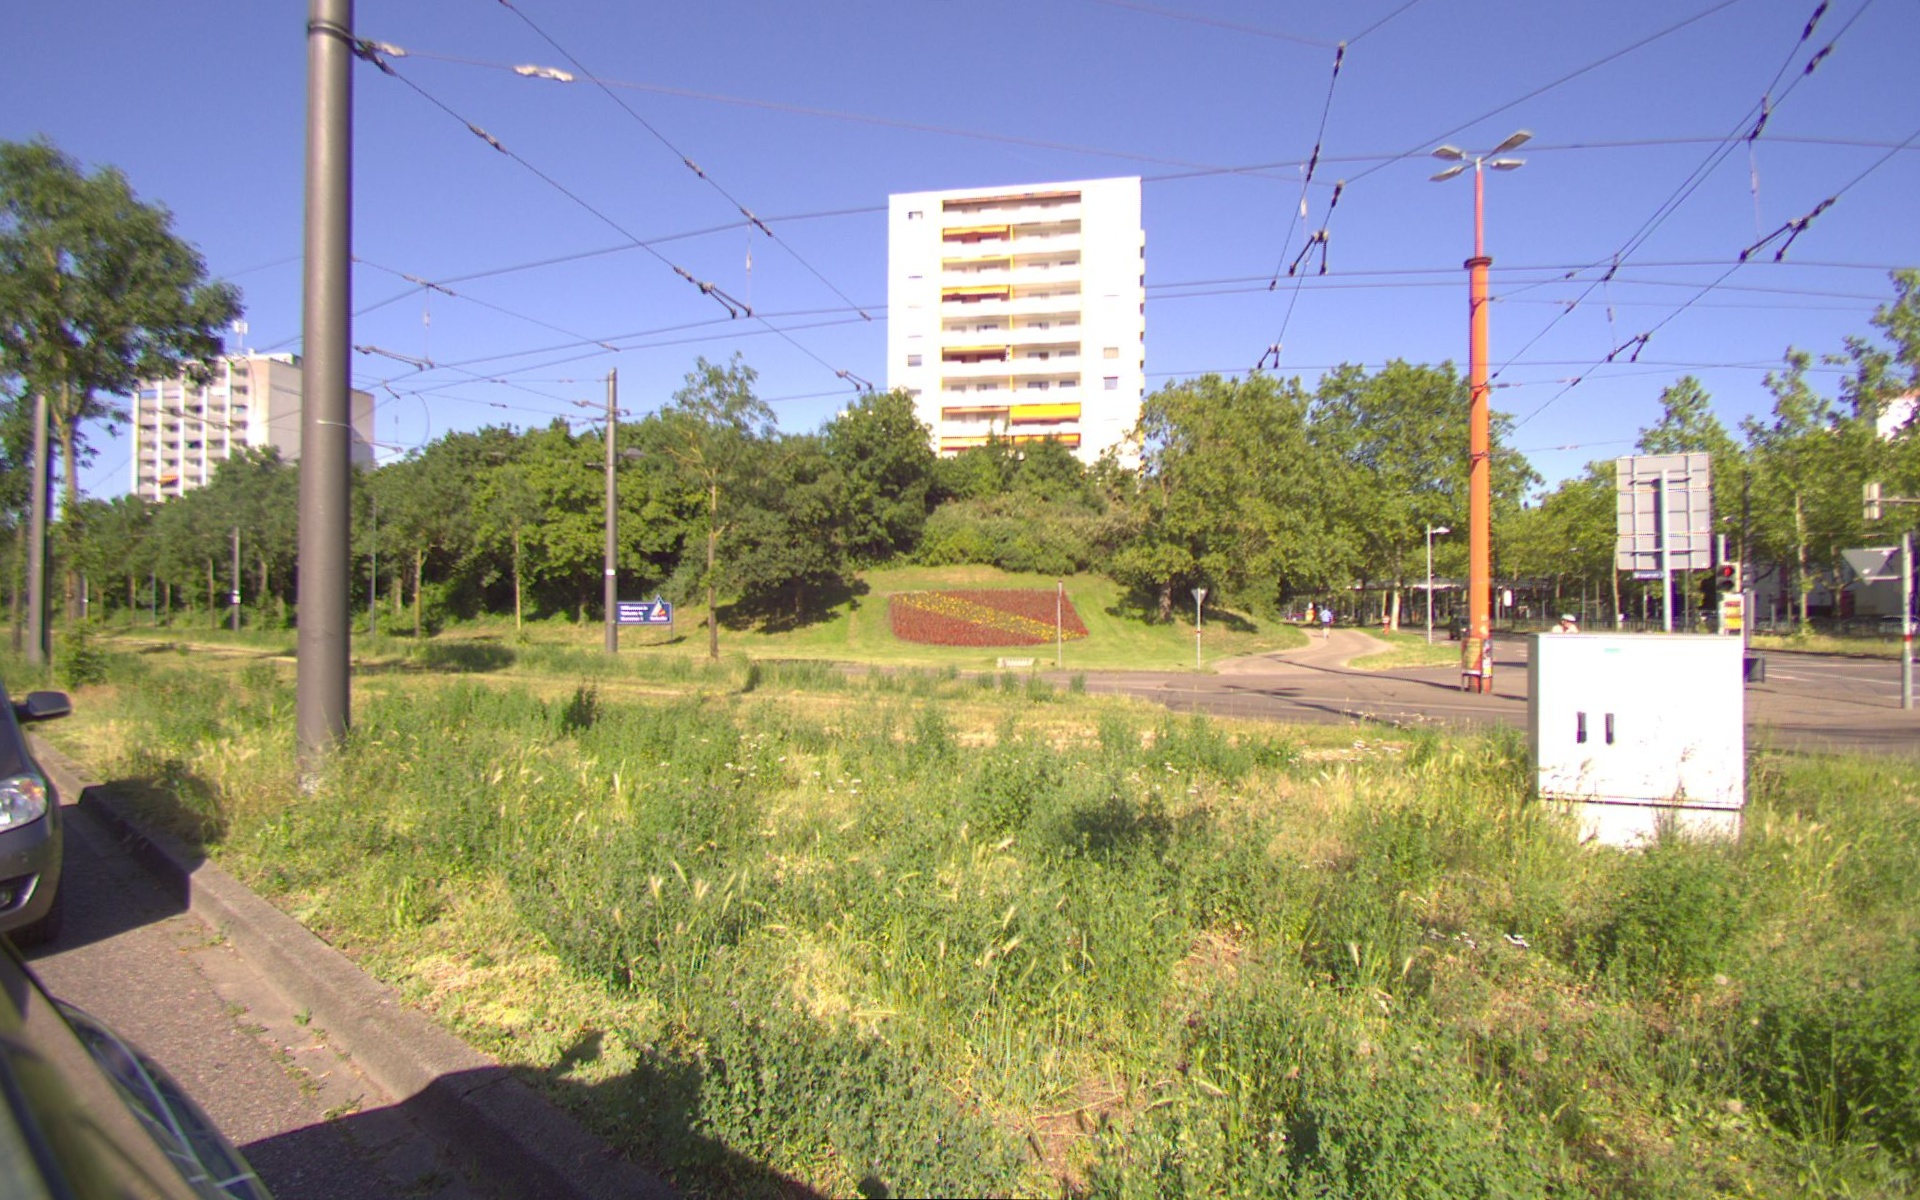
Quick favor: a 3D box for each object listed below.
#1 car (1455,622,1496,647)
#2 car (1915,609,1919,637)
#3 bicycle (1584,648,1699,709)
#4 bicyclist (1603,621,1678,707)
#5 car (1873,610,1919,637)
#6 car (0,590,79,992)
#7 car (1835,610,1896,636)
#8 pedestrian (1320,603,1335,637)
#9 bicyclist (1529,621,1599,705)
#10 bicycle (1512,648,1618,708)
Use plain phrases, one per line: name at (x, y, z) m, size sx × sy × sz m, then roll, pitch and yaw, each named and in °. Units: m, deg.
car at (35.075, 2.331, 68.933) m, size 1.928 × 1.606 × 3.882 m, roll -1°, pitch -1°, yaw 20°
car at (64.409, 1.501, 65.901) m, size 3.931 × 1.829 × 2.006 m, roll 0°, pitch -2°, yaw -27°
bicycle at (13.359, 1.517, 19.915) m, size 0.915 × 1.095 × 1.888 m, roll 0°, pitch -1°, yaw -2°
bicyclist at (13.355, 1.237, 19.882) m, size 0.920 × 1.650 × 0.741 m, roll 0°, pitch -1°, yaw -1°
car at (65.251, 1.638, 69.864) m, size 3.931 × 1.829 × 2.006 m, roll 0°, pitch -2°, yaw -27°
car at (-5.939, 0.795, 5.042) m, size 4.382 × 1.619 × 1.754 m, roll -1°, pitch -2°, yaw 41°
car at (66.019, 1.695, 73.760) m, size 3.931 × 1.829 × 2.006 m, roll 0°, pitch -2°, yaw -27°
pedestrian at (21.023, 1.136, 57.875) m, size 0.729 × 1.949 × 0.726 m, roll -1°, pitch -2°, yaw 24°
bicyclist at (12.098, 1.254, 20.301) m, size 0.920 × 1.650 × 0.741 m, roll 0°, pitch -1°, yaw -1°
bicycle at (12.093, 1.532, 20.317) m, size 0.915 × 1.095 × 1.888 m, roll 0°, pitch -1°, yaw -2°
